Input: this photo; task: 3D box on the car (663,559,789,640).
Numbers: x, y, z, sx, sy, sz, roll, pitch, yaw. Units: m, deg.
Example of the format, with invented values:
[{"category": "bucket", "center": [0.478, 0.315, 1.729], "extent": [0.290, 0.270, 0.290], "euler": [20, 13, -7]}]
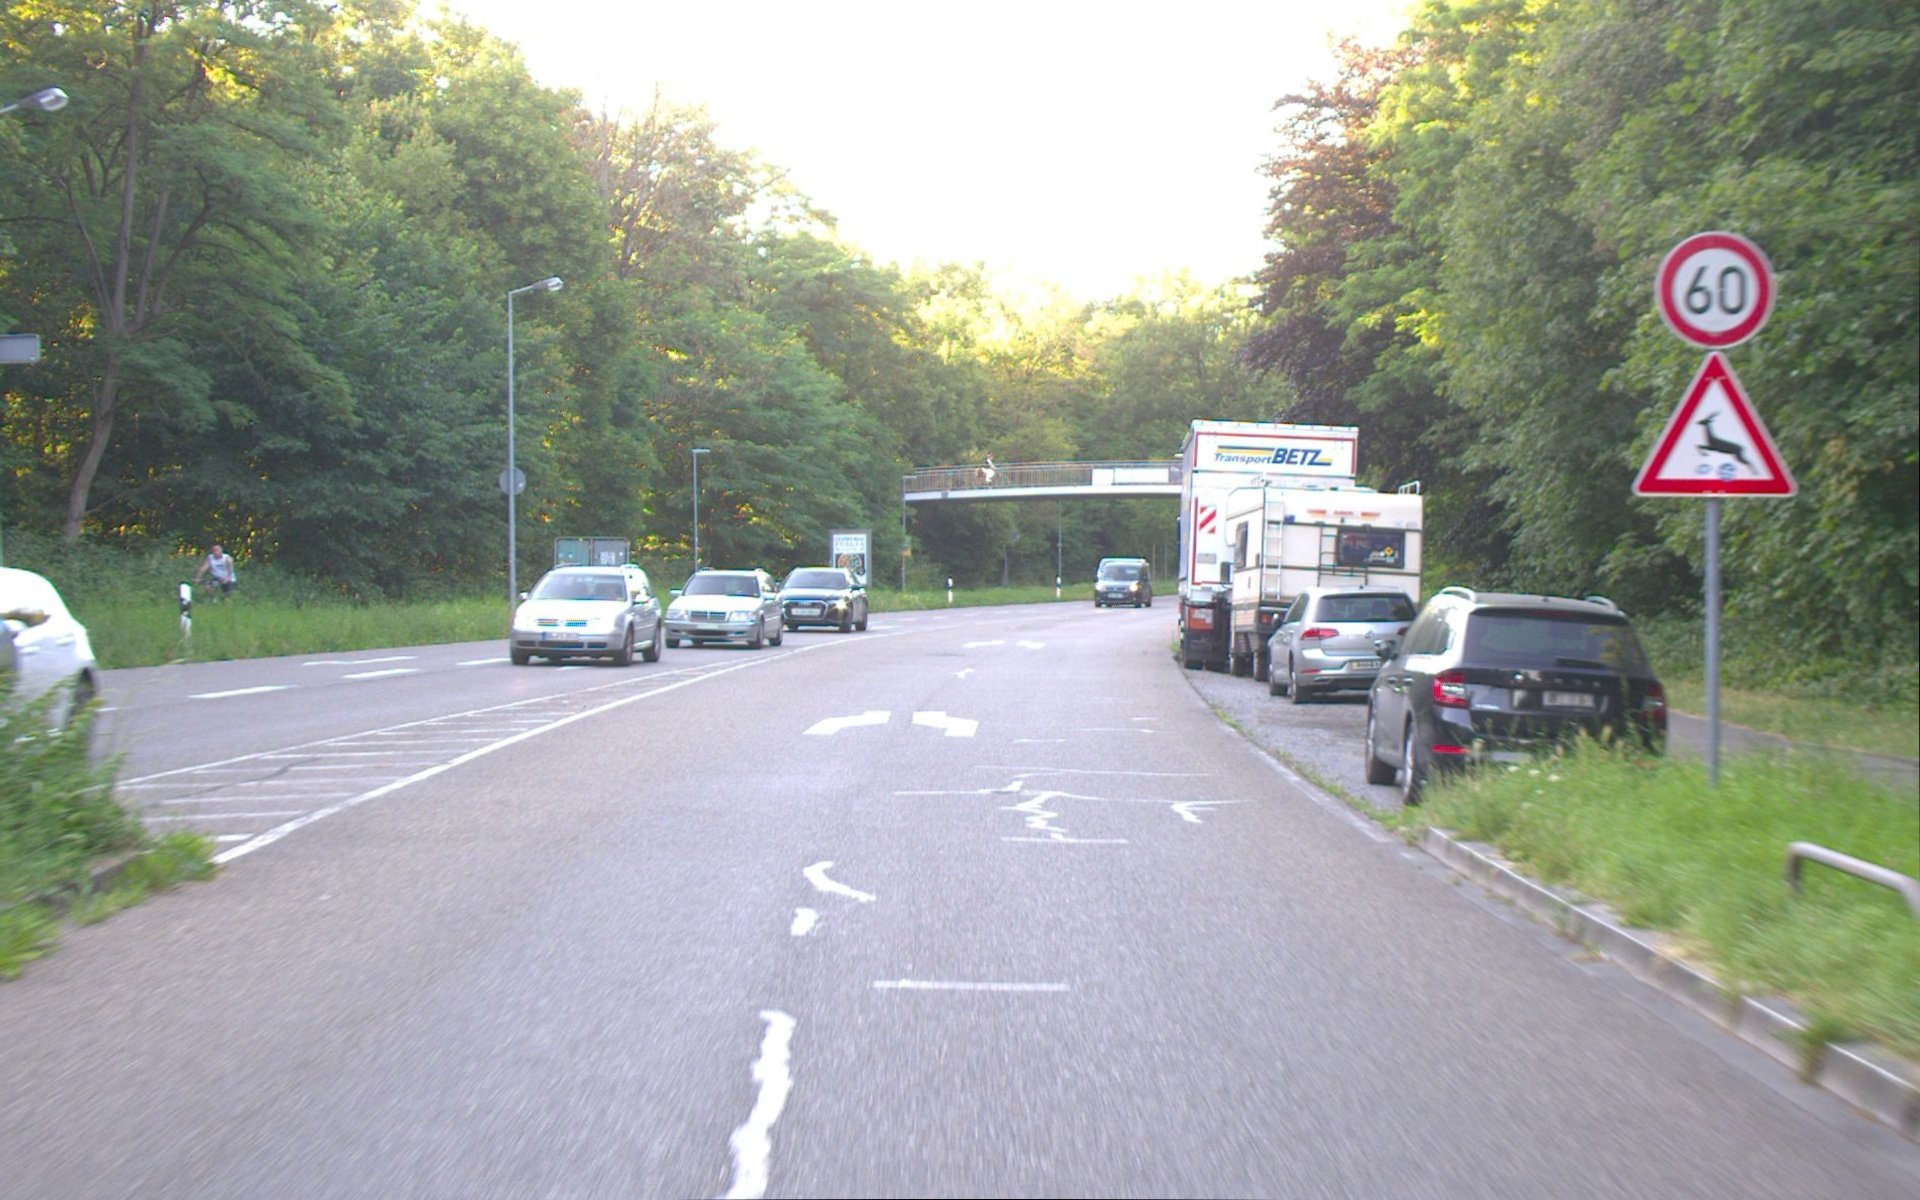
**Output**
[{"category": "car", "center": [-4.225, -0.041, 62.575], "extent": [1.720, 1.392, 4.374], "euler": [0, 1, 4]}]

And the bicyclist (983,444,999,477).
[{"category": "bicyclist", "center": [1.482, -6.711, 165.145], "extent": [0.665, 1.576, 0.547], "euler": [1, 1, 11]}]

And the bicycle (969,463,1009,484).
[{"category": "bicycle", "center": [1.395, -6.082, 165.167], "extent": [1.845, 0.946, 0.550], "euler": [1, 1, 11]}]

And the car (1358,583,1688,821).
[{"category": "car", "center": [3.754, 0.627, 23.525], "extent": [1.663, 1.400, 3.942], "euler": [3, 1, 2]}]

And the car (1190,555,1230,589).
[{"category": "car", "center": [13.318, -1.481, 183.046], "extent": [1.844, 1.729, 3.999], "euler": [1, 1, 8]}]

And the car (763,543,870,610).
[{"category": "car", "center": [-3.282, -0.557, 79.399], "extent": [1.892, 1.435, 4.769], "euler": [1, 1, 4]}]

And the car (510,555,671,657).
[{"category": "car", "center": [-5.420, 0.062, 50.884], "extent": [1.716, 1.441, 4.173], "euler": [0, 1, 3]}]

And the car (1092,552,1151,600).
[{"category": "car", "center": [6.398, -0.956, 135.990], "extent": [1.844, 1.794, 4.746], "euler": [1, 1, 8]}]

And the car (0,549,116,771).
[{"category": "car", "center": [-7.377, 0.424, 24.008], "extent": [1.836, 1.502, 3.937], "euler": [-1, -1, 3]}]

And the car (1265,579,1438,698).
[{"category": "car", "center": [4.875, 0.453, 43.238], "extent": [1.698, 1.401, 4.076], "euler": [0, 1, 0]}]

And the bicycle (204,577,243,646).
[{"category": "bicycle", "center": [-13.527, 0.194, 63.195], "extent": [0.629, 1.213, 2.262], "euler": [-1, 1, -11]}]

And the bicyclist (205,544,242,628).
[{"category": "bicyclist", "center": [-13.536, -0.258, 63.195], "extent": [0.620, 1.506, 0.847], "euler": [-1, 2, -11]}]

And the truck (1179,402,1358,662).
[{"category": "truck", "center": [5.092, -1.127, 58.170], "extent": [2.658, 4.014, 9.721], "euler": [1, 1, 3]}]

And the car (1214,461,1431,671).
[{"category": "car", "center": [5.194, -0.498, 50.105], "extent": [2.408, 2.848, 5.933], "euler": [1, 1, -1]}]
